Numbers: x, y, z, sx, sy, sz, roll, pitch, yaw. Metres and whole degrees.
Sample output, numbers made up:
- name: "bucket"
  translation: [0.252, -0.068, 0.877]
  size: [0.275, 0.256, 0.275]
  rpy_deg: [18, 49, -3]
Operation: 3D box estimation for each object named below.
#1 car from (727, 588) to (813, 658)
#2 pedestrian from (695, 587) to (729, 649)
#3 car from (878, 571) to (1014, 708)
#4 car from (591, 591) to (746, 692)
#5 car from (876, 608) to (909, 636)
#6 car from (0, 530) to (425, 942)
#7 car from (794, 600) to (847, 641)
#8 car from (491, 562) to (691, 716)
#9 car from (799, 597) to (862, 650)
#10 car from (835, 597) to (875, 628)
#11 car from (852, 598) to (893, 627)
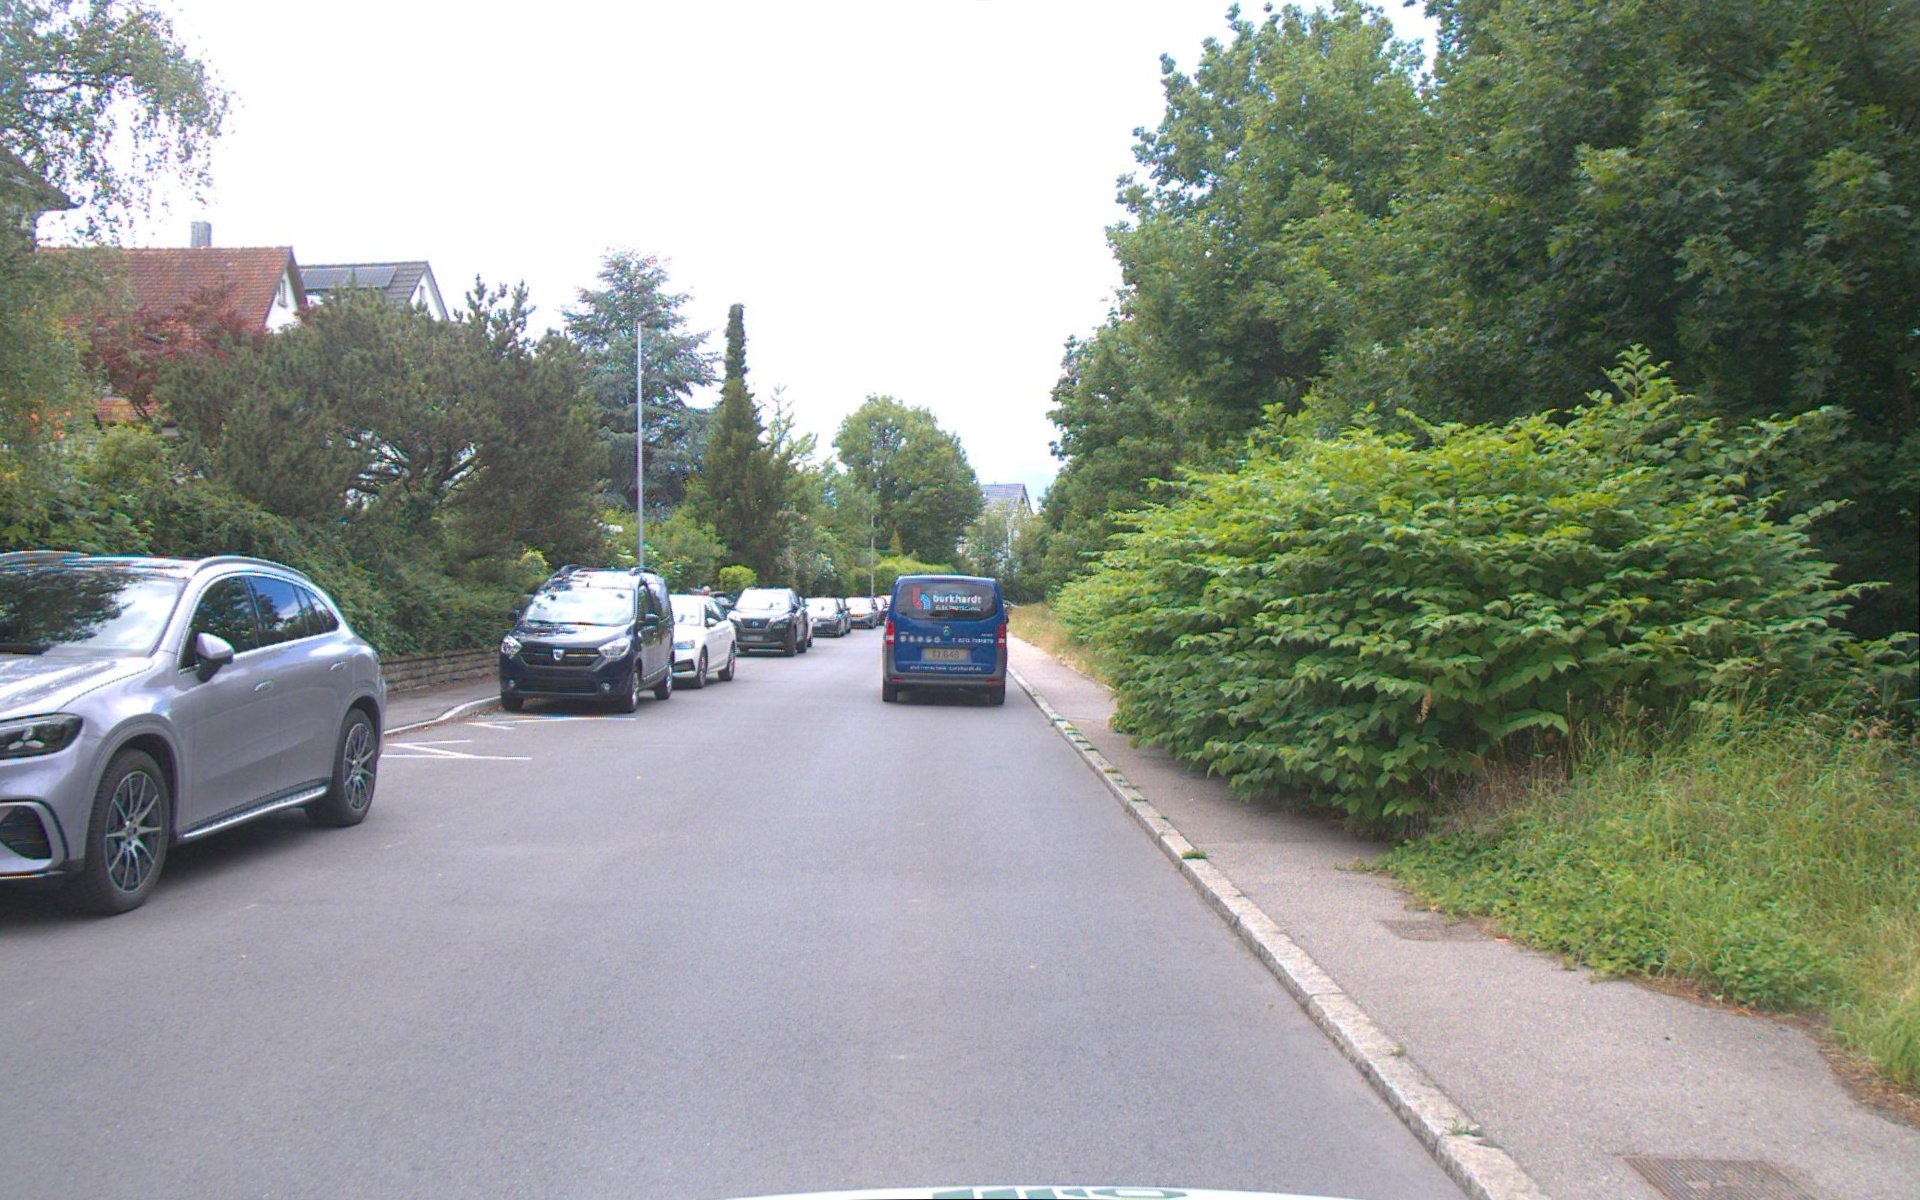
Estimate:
- name: "car"
  translation: [-4.905, 0.560, 43.147]
  size: [1.755, 1.693, 4.391]
  rpy_deg: [1, 0, -1]
- name: "pedestrian"
  translation: [-6.564, 0.478, 43.813]
  size: [0.753, 1.602, 0.820]
  rpy_deg: [1, 0, 0]
- name: "car"
  translation: [-0.262, 0.565, 25.791]
  size: [1.897, 1.913, 4.529]
  rpy_deg: [1, 0, -2]
- name: "car"
  translation: [-4.809, 0.642, 27.883]
  size: [1.671, 1.538, 4.555]
  rpy_deg: [1, 0, 1]
- name: "car"
  translation: [-4.004, 1.292, 98.156]
  size: [1.511, 1.541, 3.646]
  rpy_deg: [1, 0, 4]
- name: "car"
  translation: [-4.568, 0.520, 8.940]
  size: [1.759, 1.635, 4.730]
  rpy_deg: [1, 0, 0]
- name: "car"
  translation: [-5.236, 0.747, 62.366]
  size: [1.672, 1.441, 4.149]
  rpy_deg: [1, 0, -1]
- name: "car"
  translation: [-4.812, 0.467, 22.160]
  size: [1.672, 1.831, 4.298]
  rpy_deg: [1, 0, 0]
- name: "car"
  translation: [-3.981, 0.708, 51.392]
  size: [1.672, 1.538, 3.945]
  rpy_deg: [1, 0, -1]
- name: "car"
  translation: [-5.009, 0.595, 79.465]
  size: [1.672, 1.435, 4.160]
  rpy_deg: [1, 0, -1]
- name: "car"
  translation: [-4.738, 0.667, 90.121]
  size: [1.671, 1.541, 4.366]
  rpy_deg: [1, 0, 4]
